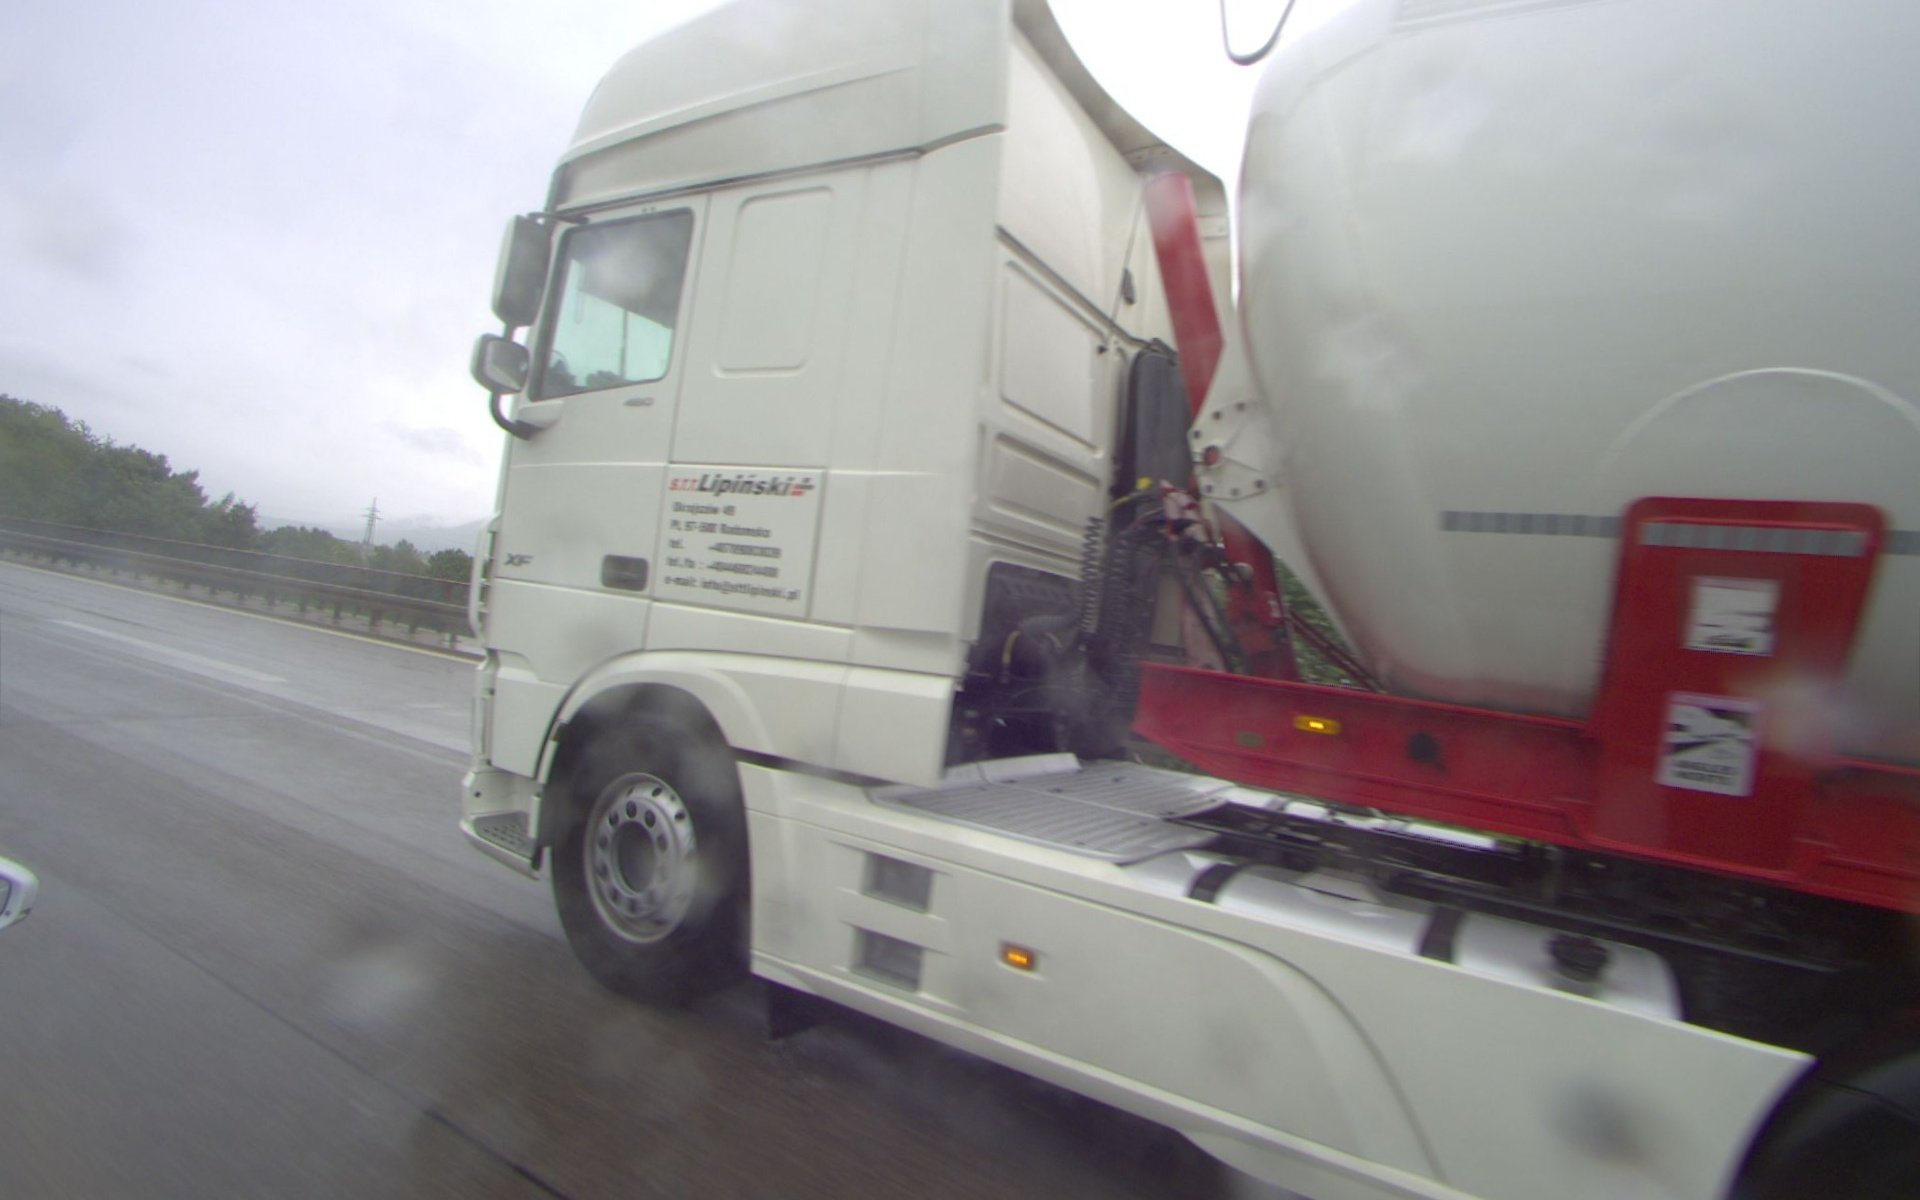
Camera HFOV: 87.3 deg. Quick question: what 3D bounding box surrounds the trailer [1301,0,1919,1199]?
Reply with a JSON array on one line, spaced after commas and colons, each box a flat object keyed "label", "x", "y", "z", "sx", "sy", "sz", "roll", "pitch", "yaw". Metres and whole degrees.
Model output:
[{"label": "trailer", "x": 6.578, "y": 0.318, "z": 0.448, "sx": 11.472, "sy": 3.714, "sz": 3.193, "roll": 7, "pitch": 0, "yaw": 32}]

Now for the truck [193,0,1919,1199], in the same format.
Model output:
[{"label": "truck", "x": 0.452, "y": -0.457, "z": 4.206, "sx": 7.091, "sy": 3.853, "sz": 3.110, "roll": 7, "pitch": 0, "yaw": 31}]
